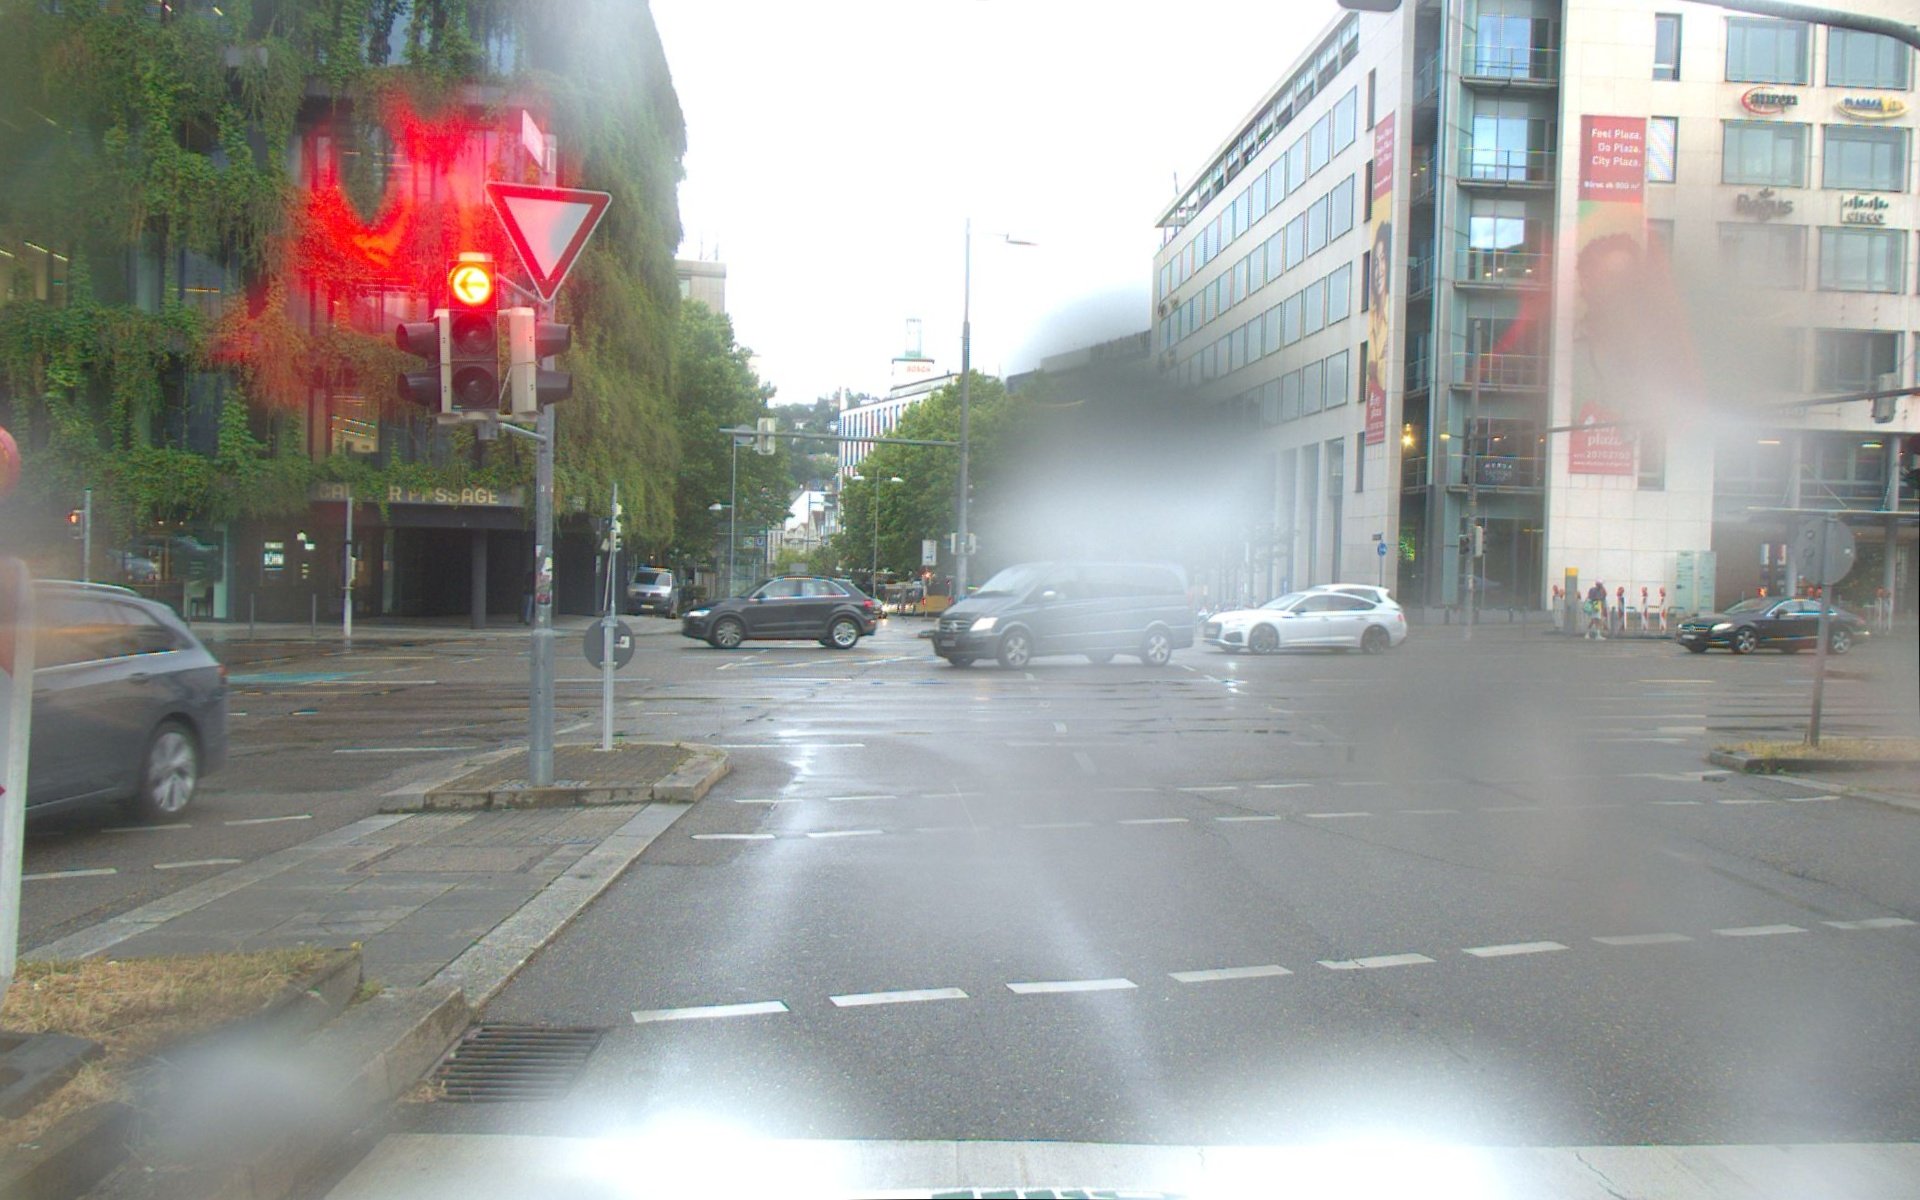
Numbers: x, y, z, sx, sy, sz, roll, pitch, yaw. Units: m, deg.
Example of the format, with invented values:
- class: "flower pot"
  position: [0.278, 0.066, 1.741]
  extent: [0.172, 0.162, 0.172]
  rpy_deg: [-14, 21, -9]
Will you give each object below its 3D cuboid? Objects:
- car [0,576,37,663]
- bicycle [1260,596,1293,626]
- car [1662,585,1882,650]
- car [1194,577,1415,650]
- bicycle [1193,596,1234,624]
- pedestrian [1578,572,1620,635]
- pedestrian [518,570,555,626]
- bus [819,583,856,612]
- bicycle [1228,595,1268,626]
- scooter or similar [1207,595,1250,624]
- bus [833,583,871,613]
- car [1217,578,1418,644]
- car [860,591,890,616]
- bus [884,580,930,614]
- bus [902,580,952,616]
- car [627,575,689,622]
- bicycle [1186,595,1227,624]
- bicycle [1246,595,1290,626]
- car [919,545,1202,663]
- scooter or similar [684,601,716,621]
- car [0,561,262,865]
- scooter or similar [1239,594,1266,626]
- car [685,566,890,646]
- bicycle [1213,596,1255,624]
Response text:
- class: "car"
  position: [-20.732, 0.341, 32.275]
  extent: [4.330, 1.667, 1.992]
  rpy_deg: [1, 0, -15]
- class: "bicycle"
  position: [12.858, 0.443, 67.141]
  extent: [0.575, 1.215, 1.776]
  rpy_deg: [1, -1, 37]
- class: "car"
  position: [20.161, 0.457, 41.131]
  extent: [4.764, 1.503, 1.993]
  rpy_deg: [1, -2, -14]
- class: "car"
  position: [7.788, 0.319, 37.416]
  extent: [4.608, 1.539, 1.802]
  rpy_deg: [1, 0, -17]
- class: "bicycle"
  position: [11.420, 0.436, 74.492]
  extent: [1.741, 1.215, 0.586]
  rpy_deg: [1, -1, 1]
- class: "pedestrian"
  position: [19.341, 0.108, 50.065]
  extent: [0.942, 1.848, 0.836]
  rpy_deg: [1, -1, -1]
- class: "pedestrian"
  position: [-12.990, -0.063, 50.721]
  extent: [0.915, 1.673, 0.774]
  rpy_deg: [1, -1, -1]
- class: "bus"
  position: [-13.344, -0.275, 180.131]
  extent: [2.585, 3.048, 7.417]
  rpy_deg: [0, 0, -16]
- class: "bicycle"
  position: [11.583, 0.405, 66.564]
  extent: [0.578, 1.215, 1.766]
  rpy_deg: [1, 0, -28]
- class: "scooter or similar"
  position: [11.546, 0.424, 71.151]
  extent: [1.741, 1.215, 0.586]
  rpy_deg: [1, -1, 1]
- class: "bus"
  position: [-11.347, -0.190, 173.064]
  extent: [2.585, 3.048, 7.296]
  rpy_deg: [0, 0, -16]
- class: "car"
  position: [8.882, 0.286, 41.146]
  extent: [4.608, 1.539, 1.802]
  rpy_deg: [1, 0, -17]
- class: "car"
  position: [-6.496, 0.278, 126.546]
  extent: [2.122, 1.796, 5.107]
  rpy_deg: [2, 0, -4]
- class: "bus"
  position: [-4.969, -0.279, 153.015]
  extent: [2.585, 3.048, 7.417]
  rpy_deg: [0, 0, -16]
- class: "bus"
  position: [-2.973, -0.201, 145.899]
  extent: [2.585, 3.048, 7.417]
  rpy_deg: [0, 0, -16]
- class: "car"
  position: [-12.391, -0.049, 68.141]
  extent: [1.832, 1.871, 3.999]
  rpy_deg: [1, 0, -1]
- class: "bicycle"
  position: [10.861, 0.420, 72.932]
  extent: [1.741, 1.215, 0.586]
  rpy_deg: [1, -1, 1]
- class: "bicycle"
  position: [12.120, 0.408, 65.020]
  extent: [1.590, 1.215, 0.586]
  rpy_deg: [1, -1, 25]
- class: "car"
  position: [1.860, 0.100, 29.789]
  extent: [4.905, 1.961, 1.977]
  rpy_deg: [1, 0, -34]
- class: "scooter or similar"
  position: [-12.936, 0.543, 82.341]
  extent: [0.612, 1.022, 1.653]
  rpy_deg: [1, 0, 37]
- class: "car"
  position: [-5.626, 0.554, 8.886]
  extent: [1.652, 1.536, 4.294]
  rpy_deg: [1, 1, 4]
- class: "scooter or similar"
  position: [11.384, 0.392, 64.325]
  extent: [0.946, 1.215, 0.453]
  rpy_deg: [1, -1, 40]
- class: "car"
  position: [-3.863, 0.149, 36.781]
  extent: [4.328, 1.667, 1.993]
  rpy_deg: [1, 0, -14]
- class: "bicycle"
  position: [11.890, 0.432, 71.779]
  extent: [1.741, 1.215, 0.586]
  rpy_deg: [1, -1, 1]
